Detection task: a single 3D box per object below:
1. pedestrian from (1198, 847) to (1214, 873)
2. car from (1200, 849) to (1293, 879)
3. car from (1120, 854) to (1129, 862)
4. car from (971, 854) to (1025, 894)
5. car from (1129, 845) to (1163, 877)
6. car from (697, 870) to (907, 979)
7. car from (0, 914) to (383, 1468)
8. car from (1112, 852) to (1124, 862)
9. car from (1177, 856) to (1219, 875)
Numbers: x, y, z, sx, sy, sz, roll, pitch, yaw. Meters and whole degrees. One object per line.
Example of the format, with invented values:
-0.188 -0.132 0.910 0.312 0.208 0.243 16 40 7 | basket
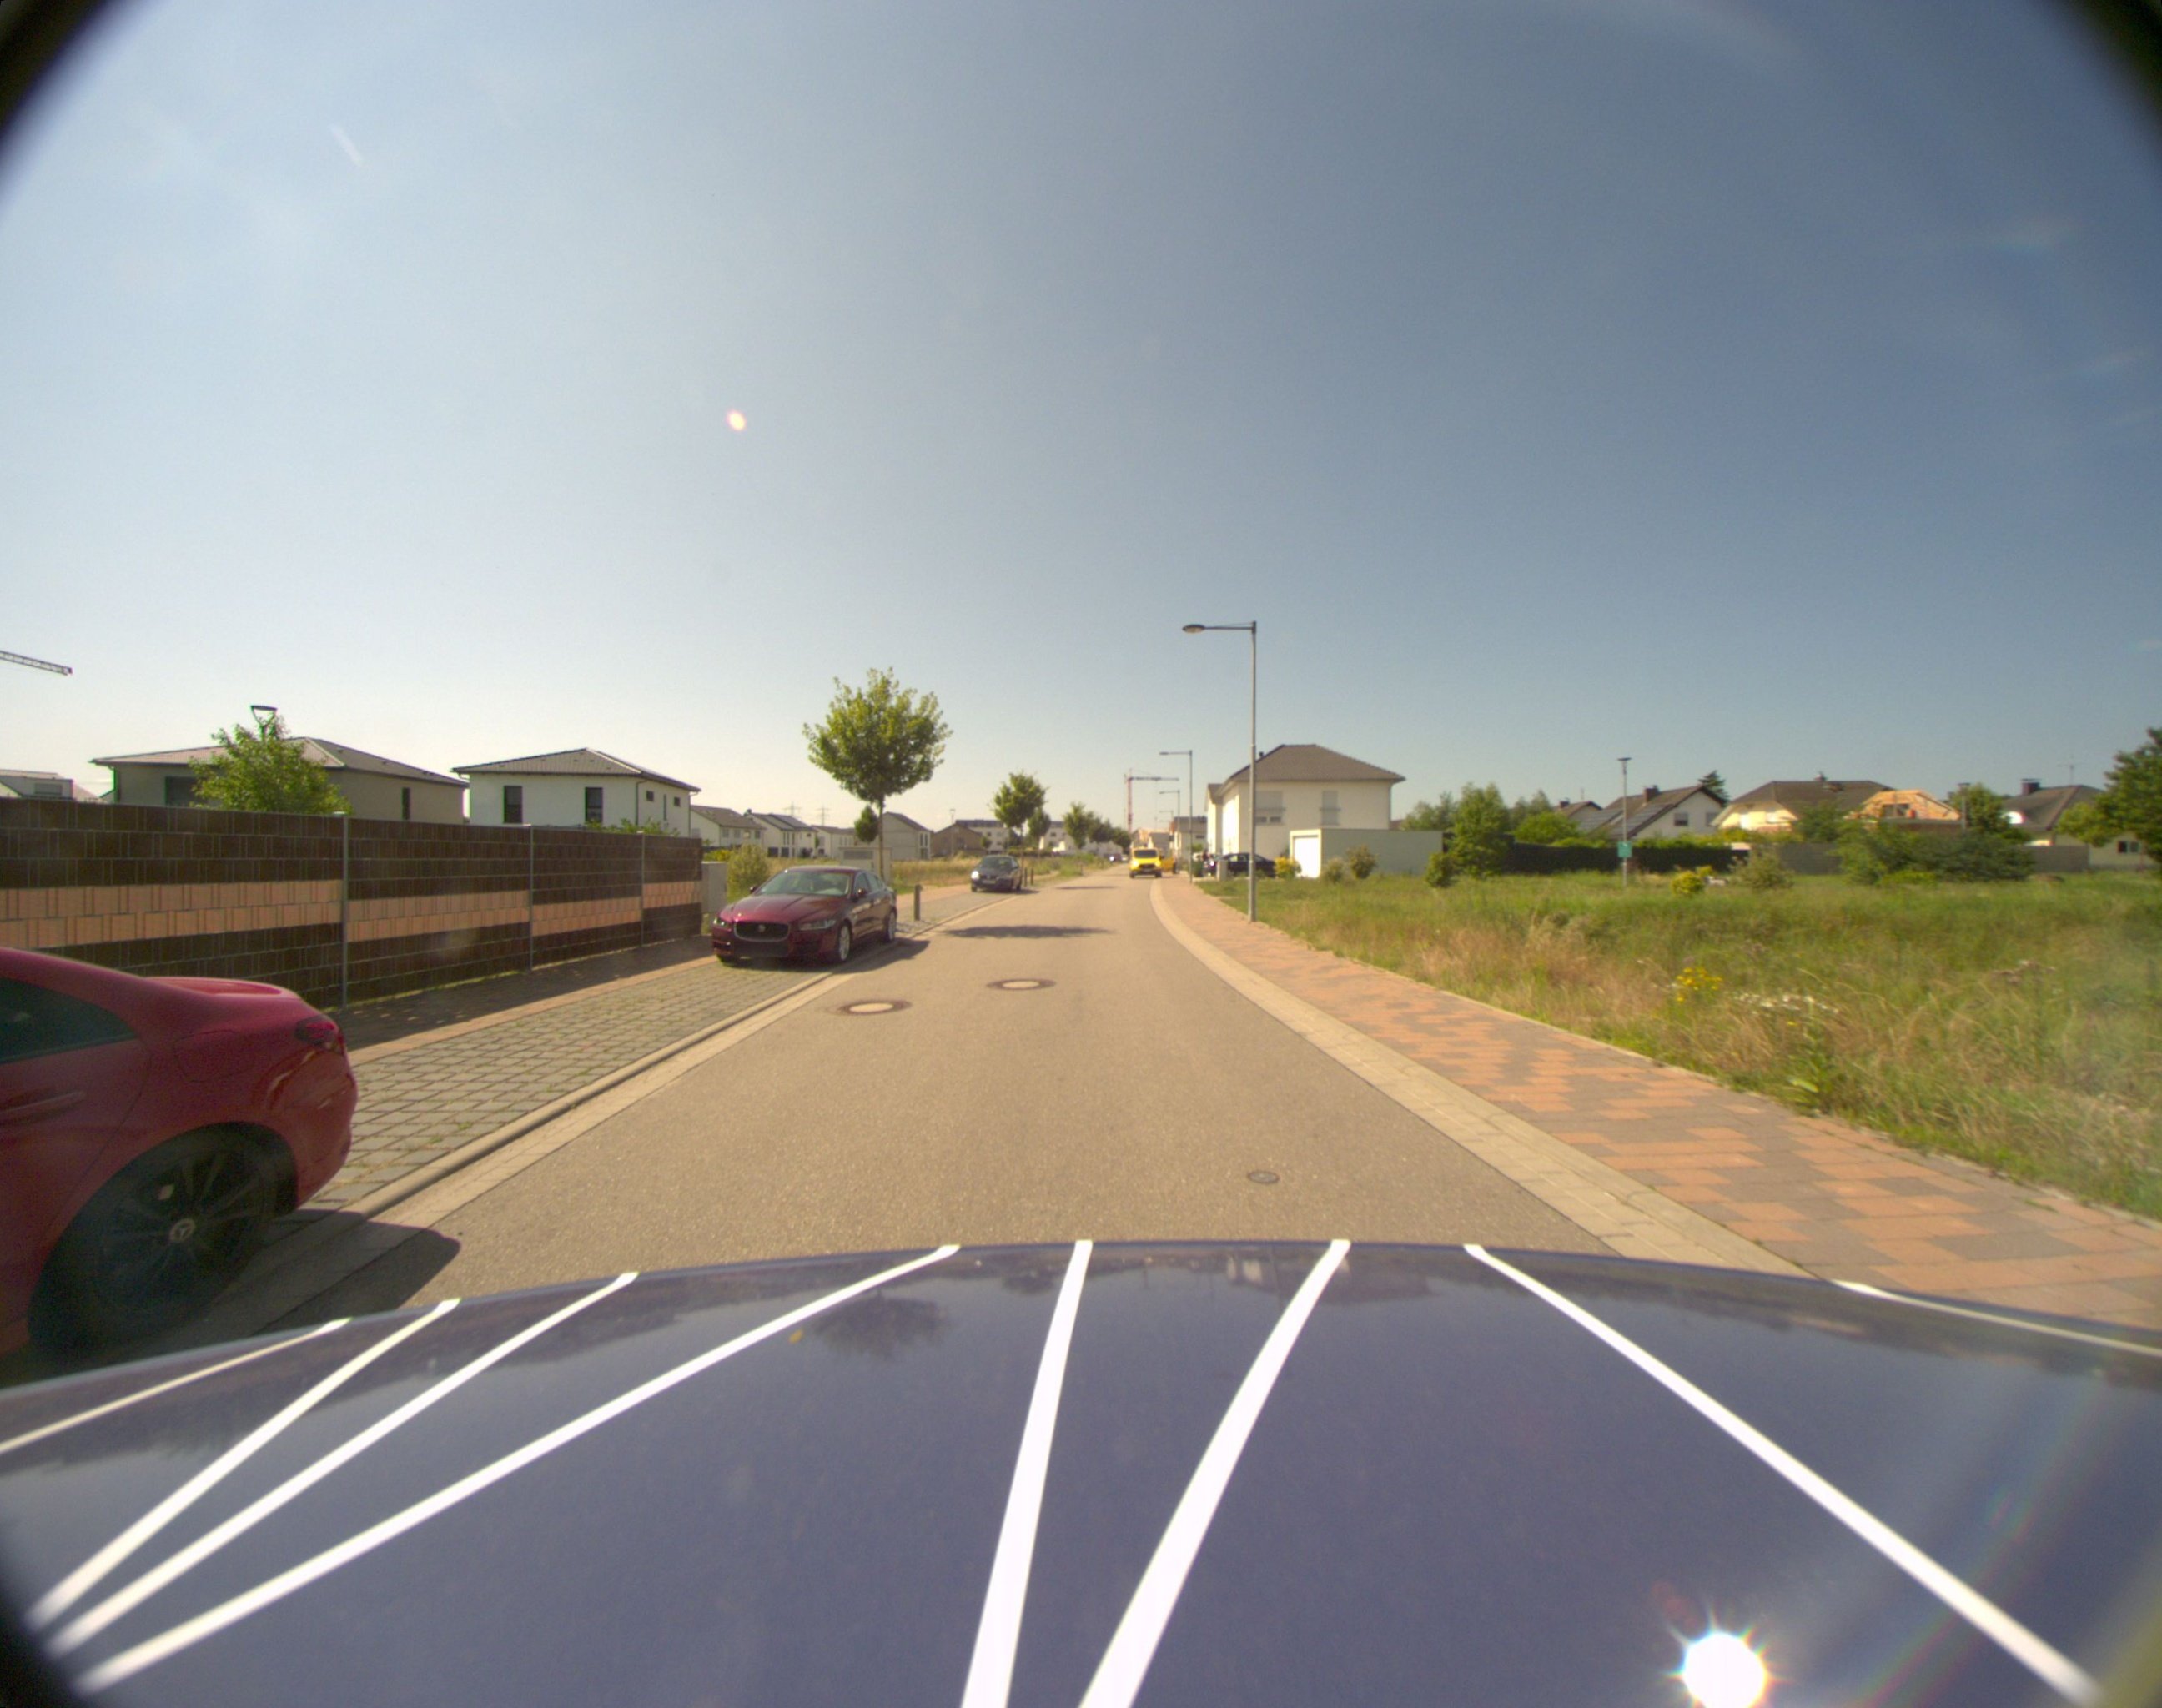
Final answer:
8.335 0.394 50.520 0.931 1.675 0.538 -2 0 15 | pedestrian
8.631 0.511 39.741 4.406 1.444 1.748 -1 1 -7 | car
8.007 0.731 140.808 1.492 1.389 3.274 0 0 6 | car
-3.388 0.781 31.499 1.602 1.466 3.675 2 0 3 | car
4.277 0.421 50.553 1.888 2.002 4.841 -1 0 2 | car
-4.313 1.006 12.590 1.759 1.355 4.575 0 0 0 | car
-3.863 0.999 1.048 1.767 1.429 4.518 1 0 -3 | car
6.023 0.498 122.908 1.768 1.483 4.001 0 0 6 | car
11.356 1.105 73.910 3.995 1.842 2.001 0 1 6 | car
